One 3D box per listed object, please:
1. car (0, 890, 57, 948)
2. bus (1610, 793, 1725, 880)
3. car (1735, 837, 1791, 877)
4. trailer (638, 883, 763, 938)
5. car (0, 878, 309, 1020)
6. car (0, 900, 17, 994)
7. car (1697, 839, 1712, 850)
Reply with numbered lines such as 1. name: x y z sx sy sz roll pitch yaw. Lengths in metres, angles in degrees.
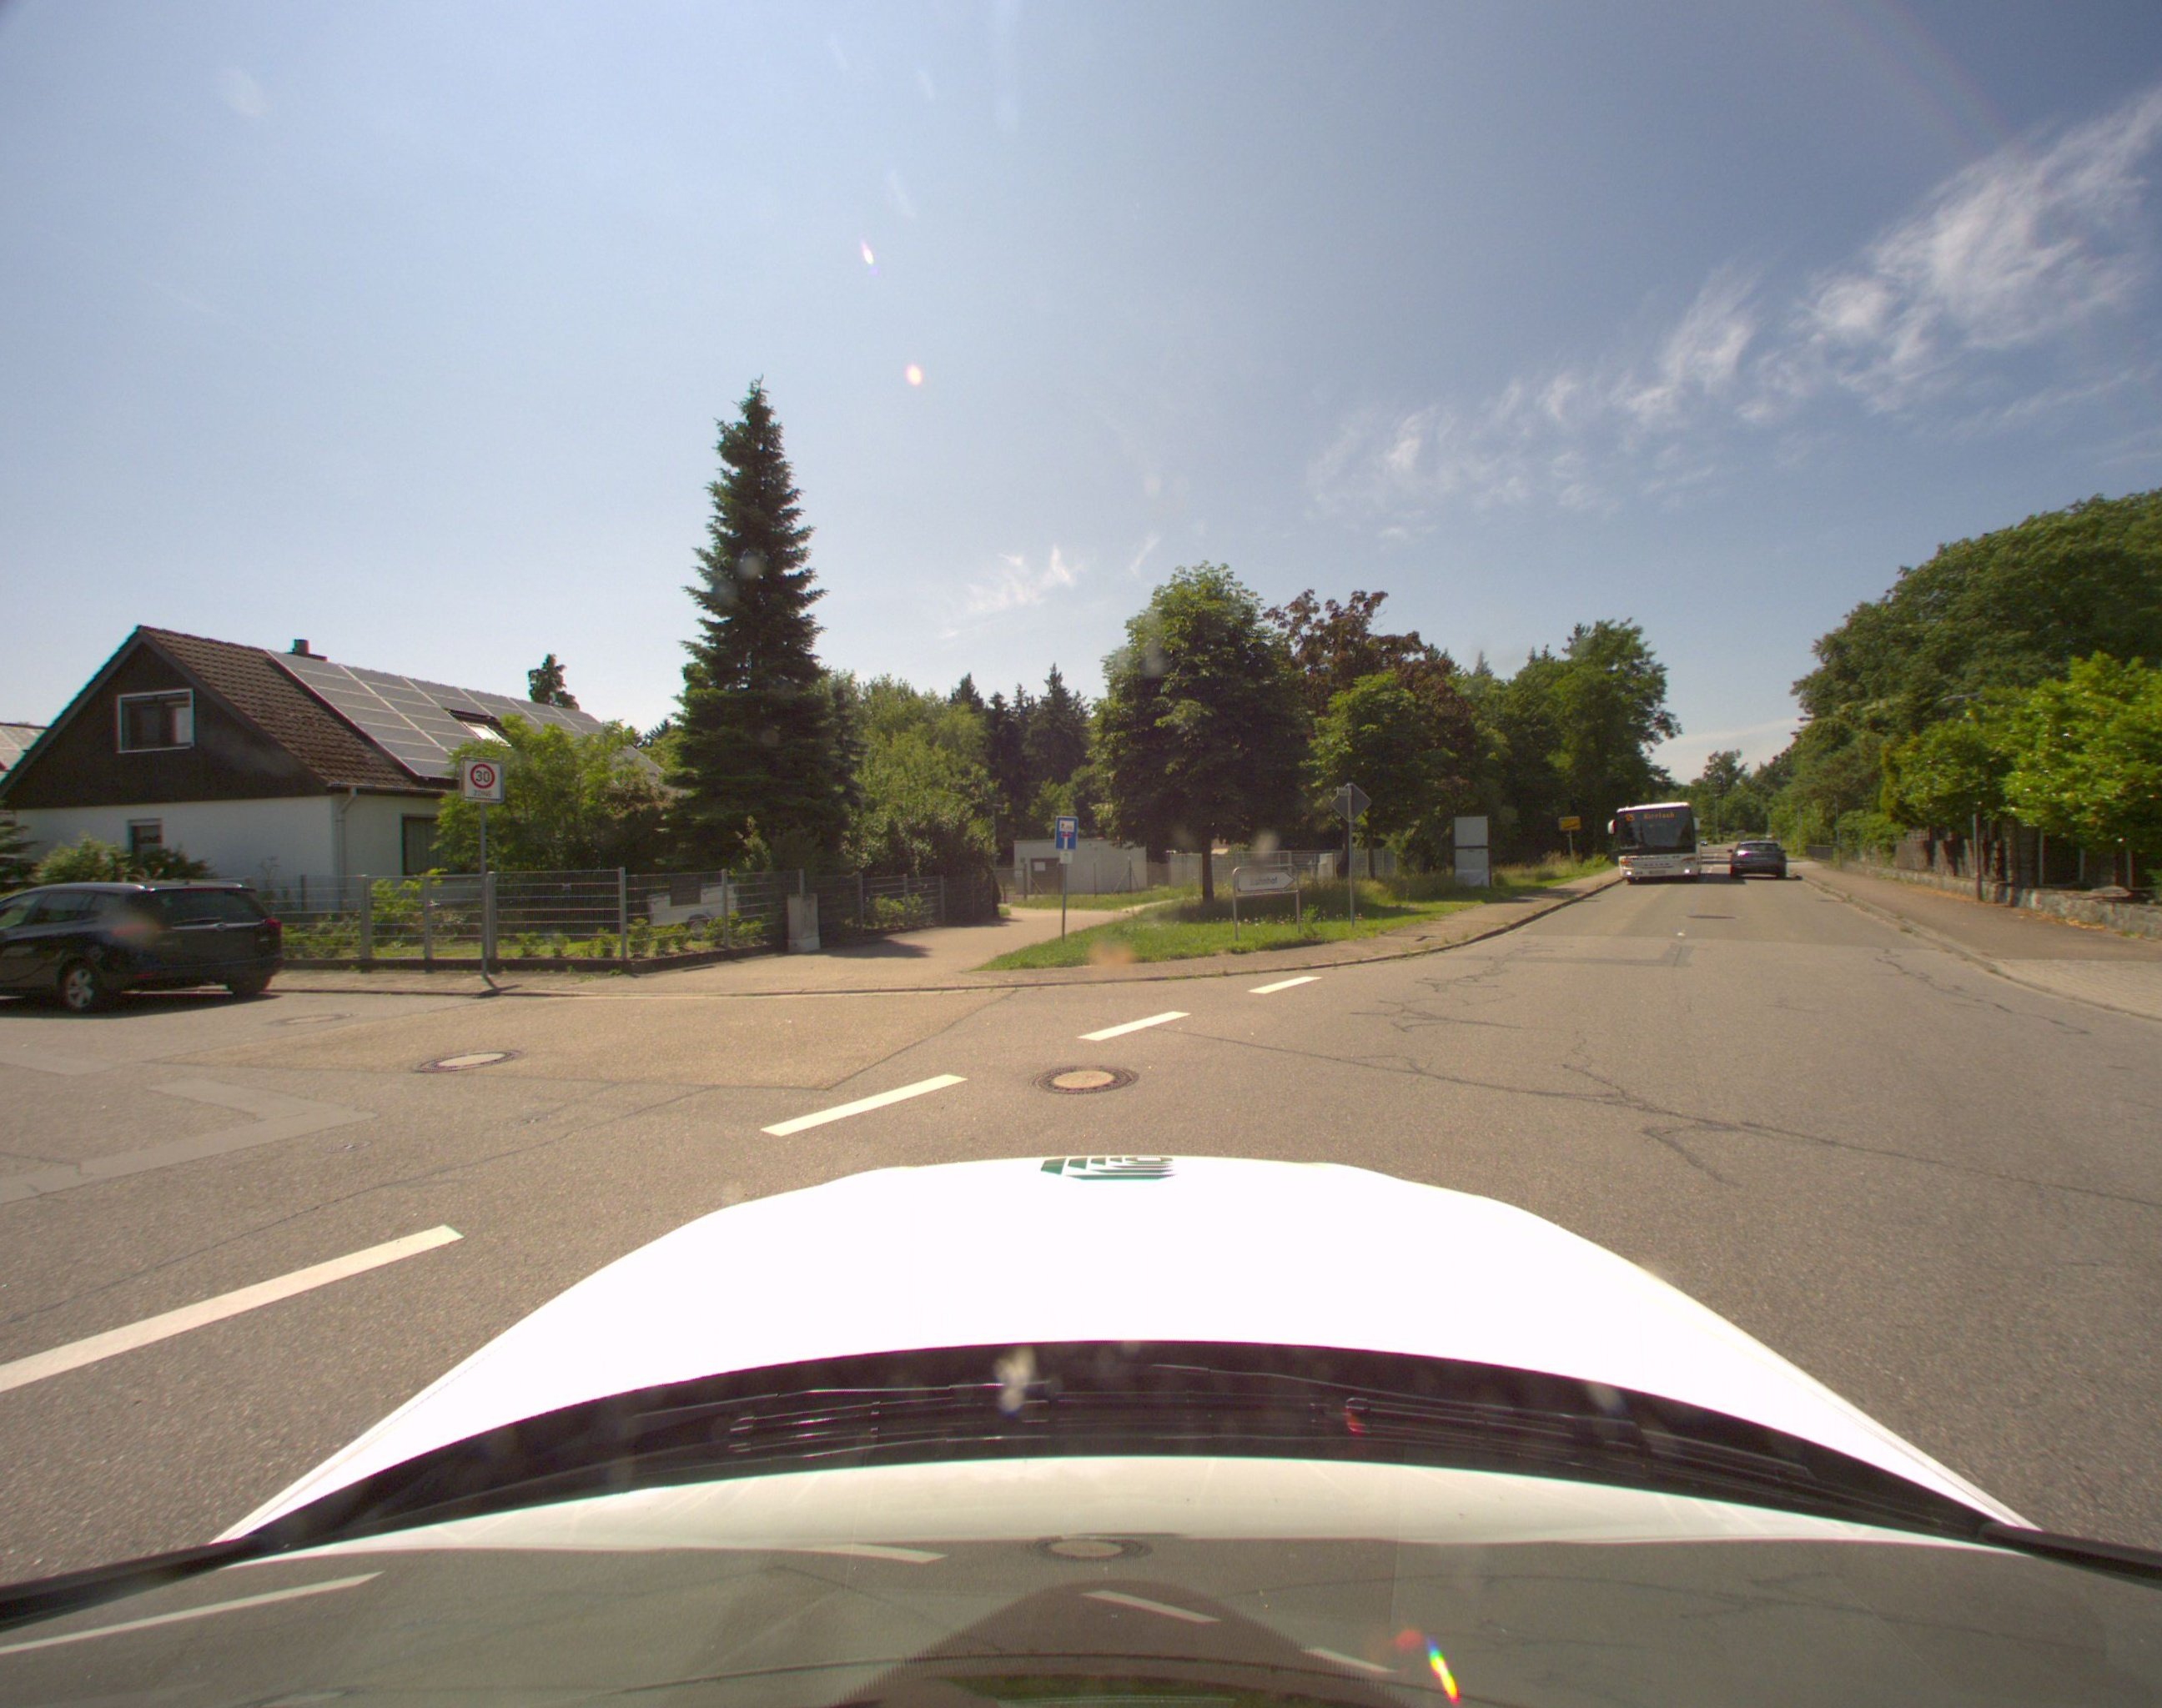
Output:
1. car: -30.016 1.791 20.851 1.980 1.486 4.269 -1 0 13
2. bus: 26.362 -0.702 36.242 3.151 3.244 12.792 -2 0 40
3. car: 28.776 0.108 34.423 1.745 1.618 4.025 0 0 39
4. trailer: -8.352 1.233 17.961 2.204 1.084 1.108 -1 0 5
5. car: -13.743 1.241 11.415 4.634 1.662 1.977 -1 0 13
6. car: -19.147 1.524 12.553 4.292 1.460 1.698 -2 0 13
7. car: 110.864 -1.756 144.860 1.932 1.860 4.026 -2 0 35
